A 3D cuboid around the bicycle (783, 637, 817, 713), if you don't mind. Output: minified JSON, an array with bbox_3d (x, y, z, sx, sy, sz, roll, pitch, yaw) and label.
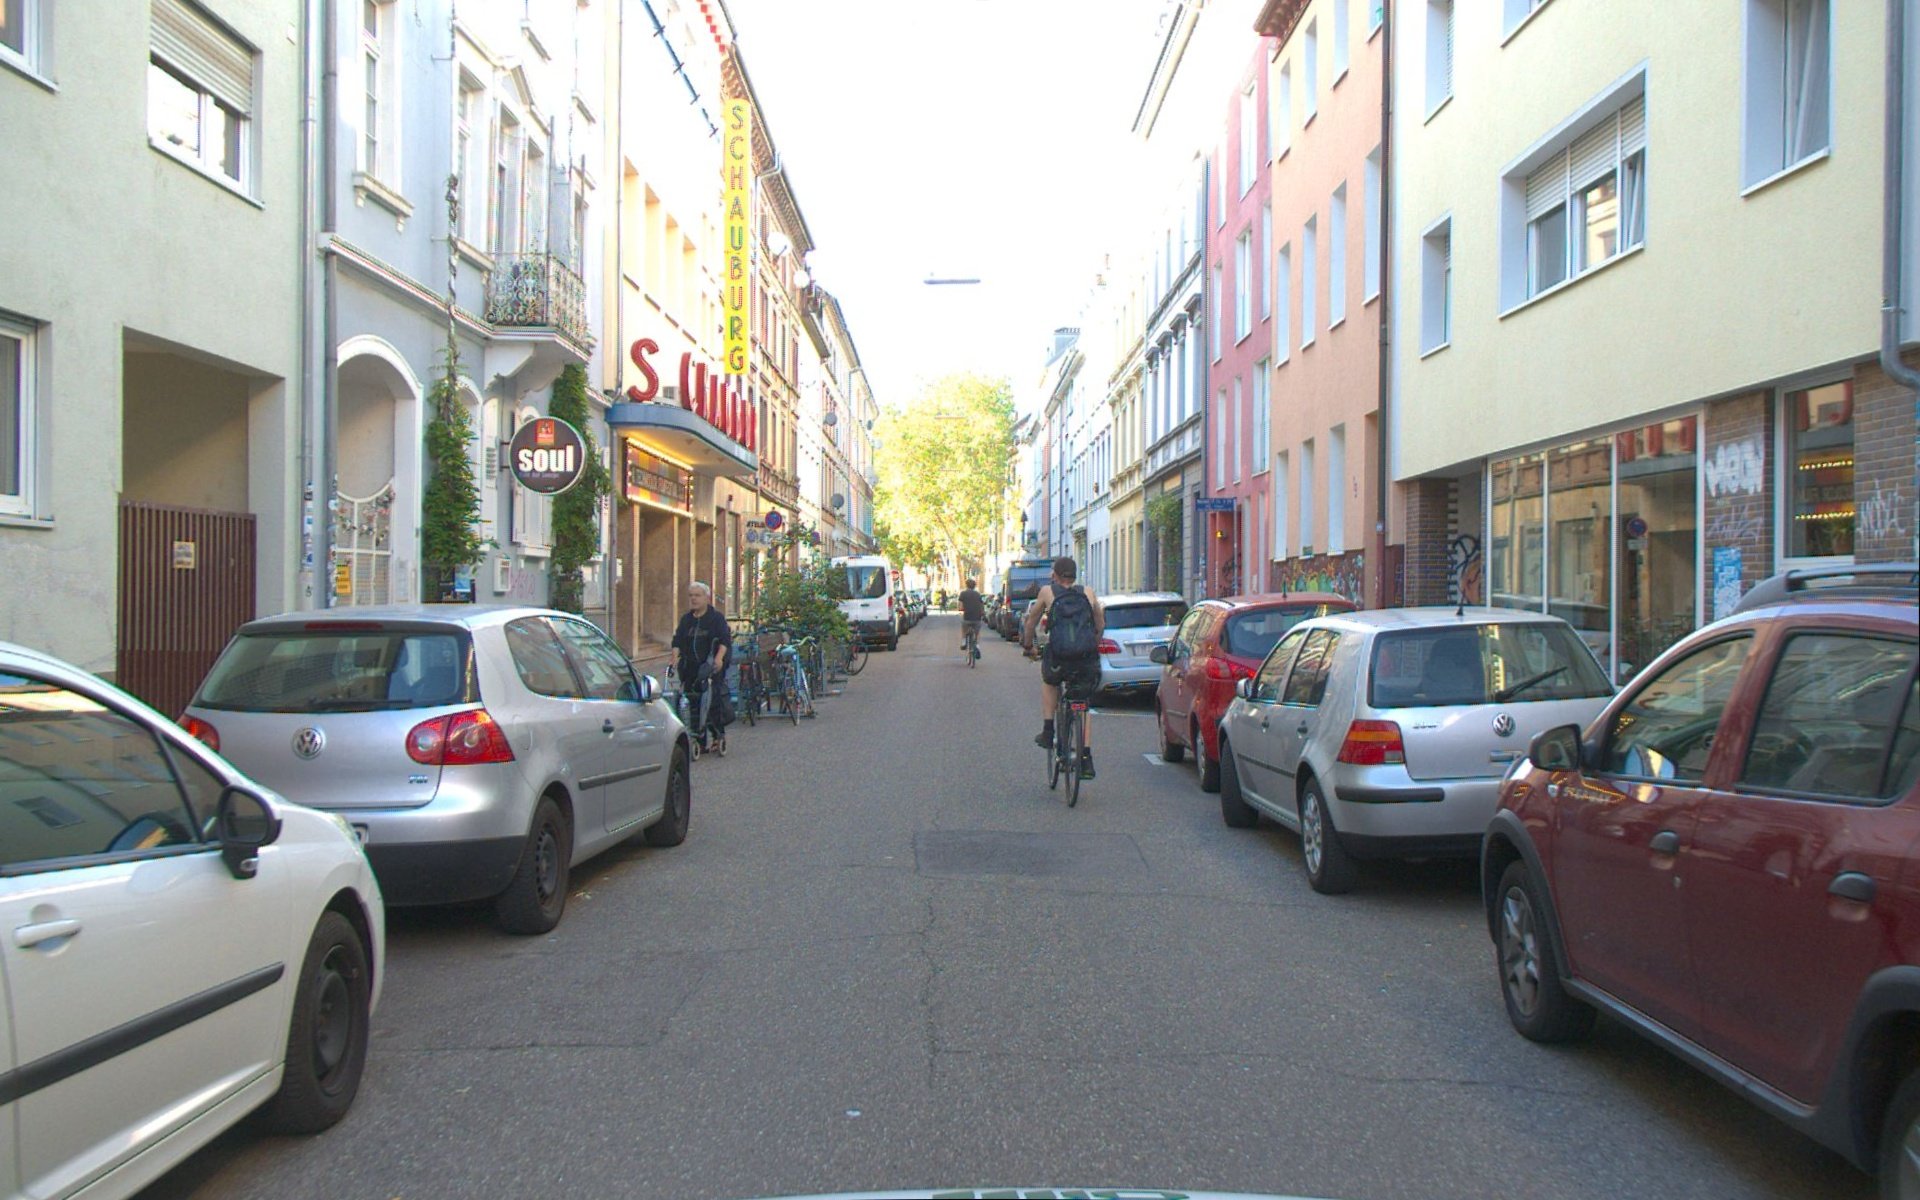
[{"bbox_3d":[-2.091,0.965,21.730,0.315,0.932,1.290,0,0,0],"label":"bicycle"}]

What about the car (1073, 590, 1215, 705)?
[{"bbox_3d":[2.678,0.638,24.864,1.710,1.583,4.171,0,0,1],"label":"car"}]

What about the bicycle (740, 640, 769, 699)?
[{"bbox_3d":[-3.121,1.052,25.167,0.250,0.832,1.299,1,0,0],"label":"bicycle"}]

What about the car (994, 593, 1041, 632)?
[{"bbox_3d":[2.339,0.494,68.187,1.710,1.511,4.242,0,0,-1],"label":"car"}]

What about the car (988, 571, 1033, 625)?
[{"bbox_3d":[2.562,-0.120,83.468,2.159,2.595,6.037,0,0,2],"label":"car"}]

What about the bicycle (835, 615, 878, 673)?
[{"bbox_3d":[-2.019,0.838,32.138,0.453,1.066,1.742,2,0,-16],"label":"bicycle"}]

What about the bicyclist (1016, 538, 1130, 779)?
[{"bbox_3d":[0.830,0.415,12.418,0.725,1.708,1.116,1,0,-1],"label":"bicyclist"}]

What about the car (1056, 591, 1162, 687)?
[{"bbox_3d":[2.613,0.653,29.679,1.569,1.566,3.450,-2,0,1],"label":"car"}]

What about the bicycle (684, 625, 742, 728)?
[{"bbox_3d":[-2.919,0.878,19.649,0.434,1.125,1.873,1,0,-2],"label":"bicycle"}]

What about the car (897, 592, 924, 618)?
[{"bbox_3d":[-3.083,0.311,102.367,1.513,1.578,3.463,-1,0,-3],"label":"car"}]

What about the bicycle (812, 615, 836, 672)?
[{"bbox_3d":[-2.729,0.861,33.194,0.433,1.066,1.863,1,0,-4],"label":"bicycle"}]

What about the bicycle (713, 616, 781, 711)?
[{"bbox_3d":[-2.787,0.819,21.723,0.796,1.195,0.920,0,0,-3],"label":"bicycle"}]

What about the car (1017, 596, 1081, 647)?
[{"bbox_3d":[2.675,0.616,50.638,1.712,1.469,4.171,0,0,0],"label":"car"}]

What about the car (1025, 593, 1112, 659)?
[{"bbox_3d":[2.677,0.609,41.741,1.750,1.479,4.546,-3,0,-1],"label":"car"}]

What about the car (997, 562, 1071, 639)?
[{"bbox_3d":[2.469,0.003,56.867,2.131,2.468,6.308,-1,0,-1],"label":"car"}]

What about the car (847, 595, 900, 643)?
[{"bbox_3d":[-2.719,0.574,52.712,1.612,1.472,3.838,-1,0,-2],"label":"car"}]

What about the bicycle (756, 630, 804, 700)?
[{"bbox_3d":[-2.668,0.953,24.619,0.542,0.960,1.571,0,0,0],"label":"bicycle"}]

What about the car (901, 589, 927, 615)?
[{"bbox_3d":[-3.157,0.120,114.569,1.751,1.767,3.875,0,0,-1],"label":"car"}]

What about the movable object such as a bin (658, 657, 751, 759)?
[{"bbox_3d":[-2.390,1.007,15.535,0.828,0.913,0.585,1,0,-7],"label":"movable object such as a bin"}]

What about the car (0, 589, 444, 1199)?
[{"bbox_3d":[-2.585,0.720,3.557,1.753,1.477,3.999,0,0,-1],"label":"car"}]

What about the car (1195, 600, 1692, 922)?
[{"bbox_3d":[2.620,0.769,10.022,1.654,1.478,4.192,-1,0,-2],"label":"car"}]

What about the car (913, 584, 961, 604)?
[{"bbox_3d":[-2.152,-0.536,153.966,4.381,1.790,1.864,-1,0,-5],"label":"car"}]

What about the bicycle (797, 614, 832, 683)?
[{"bbox_3d":[-2.504,0.825,28.601,0.535,1.113,1.880,2,0,-4],"label":"bicycle"}]

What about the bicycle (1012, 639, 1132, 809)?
[{"bbox_3d":[0.815,0.893,12.611,0.725,1.120,2.042,2,0,-1],"label":"bicycle"}]

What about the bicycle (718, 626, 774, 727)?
[{"bbox_3d":[-2.579,0.904,20.092,0.434,1.125,1.931,1,0,-1],"label":"bicycle"}]

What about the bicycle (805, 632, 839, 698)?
[{"bbox_3d":[-2.075,0.974,24.976,0.382,0.932,1.393,0,0,0],"label":"bicycle"}]

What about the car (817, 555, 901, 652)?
[{"bbox_3d":[-2.765,0.071,46.657,2.124,2.495,5.919,-1,0,-2],"label":"car"}]

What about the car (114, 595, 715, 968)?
[{"bbox_3d":[-2.531,0.736,8.761,1.645,1.480,4.035,-1,0,3],"label":"car"}]

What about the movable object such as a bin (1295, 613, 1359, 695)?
[{"bbox_3d":[5.085,0.738,22.953,0.678,1.076,0.736,-2,0,0],"label":"movable object such as a bin"}]

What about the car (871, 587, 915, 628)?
[{"bbox_3d":[-3.020,0.344,75.019,1.764,1.728,4.000,-2,0,0],"label":"car"}]

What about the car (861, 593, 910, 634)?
[{"bbox_3d":[-2.868,0.498,63.999,1.824,1.465,4.643,-1,1,-2],"label":"car"}]

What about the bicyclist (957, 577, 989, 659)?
[{"bbox_3d":[0.268,0.373,34.451,0.656,1.687,0.877,0,0,0],"label":"bicyclist"}]

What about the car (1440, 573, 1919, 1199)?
[{"bbox_3d":[2.812,0.723,4.626,1.753,1.578,4.000,0,0,0],"label":"car"}]

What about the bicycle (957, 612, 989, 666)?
[{"bbox_3d":[0.260,0.789,34.429,0.650,1.055,1.958,0,0,0],"label":"bicycle"}]

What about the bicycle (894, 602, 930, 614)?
[{"bbox_3d":[-3.628,0.604,124.011,2.661,0.907,0.618,-1,0,-3],"label":"bicycle"}]

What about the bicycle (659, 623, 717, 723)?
[{"bbox_3d":[-3.312,0.868,20.201,0.434,1.125,1.697,1,0,-1],"label":"bicycle"}]

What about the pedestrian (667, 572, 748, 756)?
[{"bbox_3d":[-2.446,0.606,16.069,0.699,1.737,0.671,1,0,-6],"label":"pedestrian"}]

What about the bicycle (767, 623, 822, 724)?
[{"bbox_3d":[-2.004,0.867,20.134,0.489,1.125,1.829,1,0,-1],"label":"bicycle"}]

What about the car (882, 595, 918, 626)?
[{"bbox_3d":[-2.866,0.489,79.999,1.559,1.465,3.654,0,0,0],"label":"car"}]

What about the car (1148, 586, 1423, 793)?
[{"bbox_3d":[2.716,0.674,14.654,1.662,1.549,3.980,-1,0,1],"label":"car"}]
